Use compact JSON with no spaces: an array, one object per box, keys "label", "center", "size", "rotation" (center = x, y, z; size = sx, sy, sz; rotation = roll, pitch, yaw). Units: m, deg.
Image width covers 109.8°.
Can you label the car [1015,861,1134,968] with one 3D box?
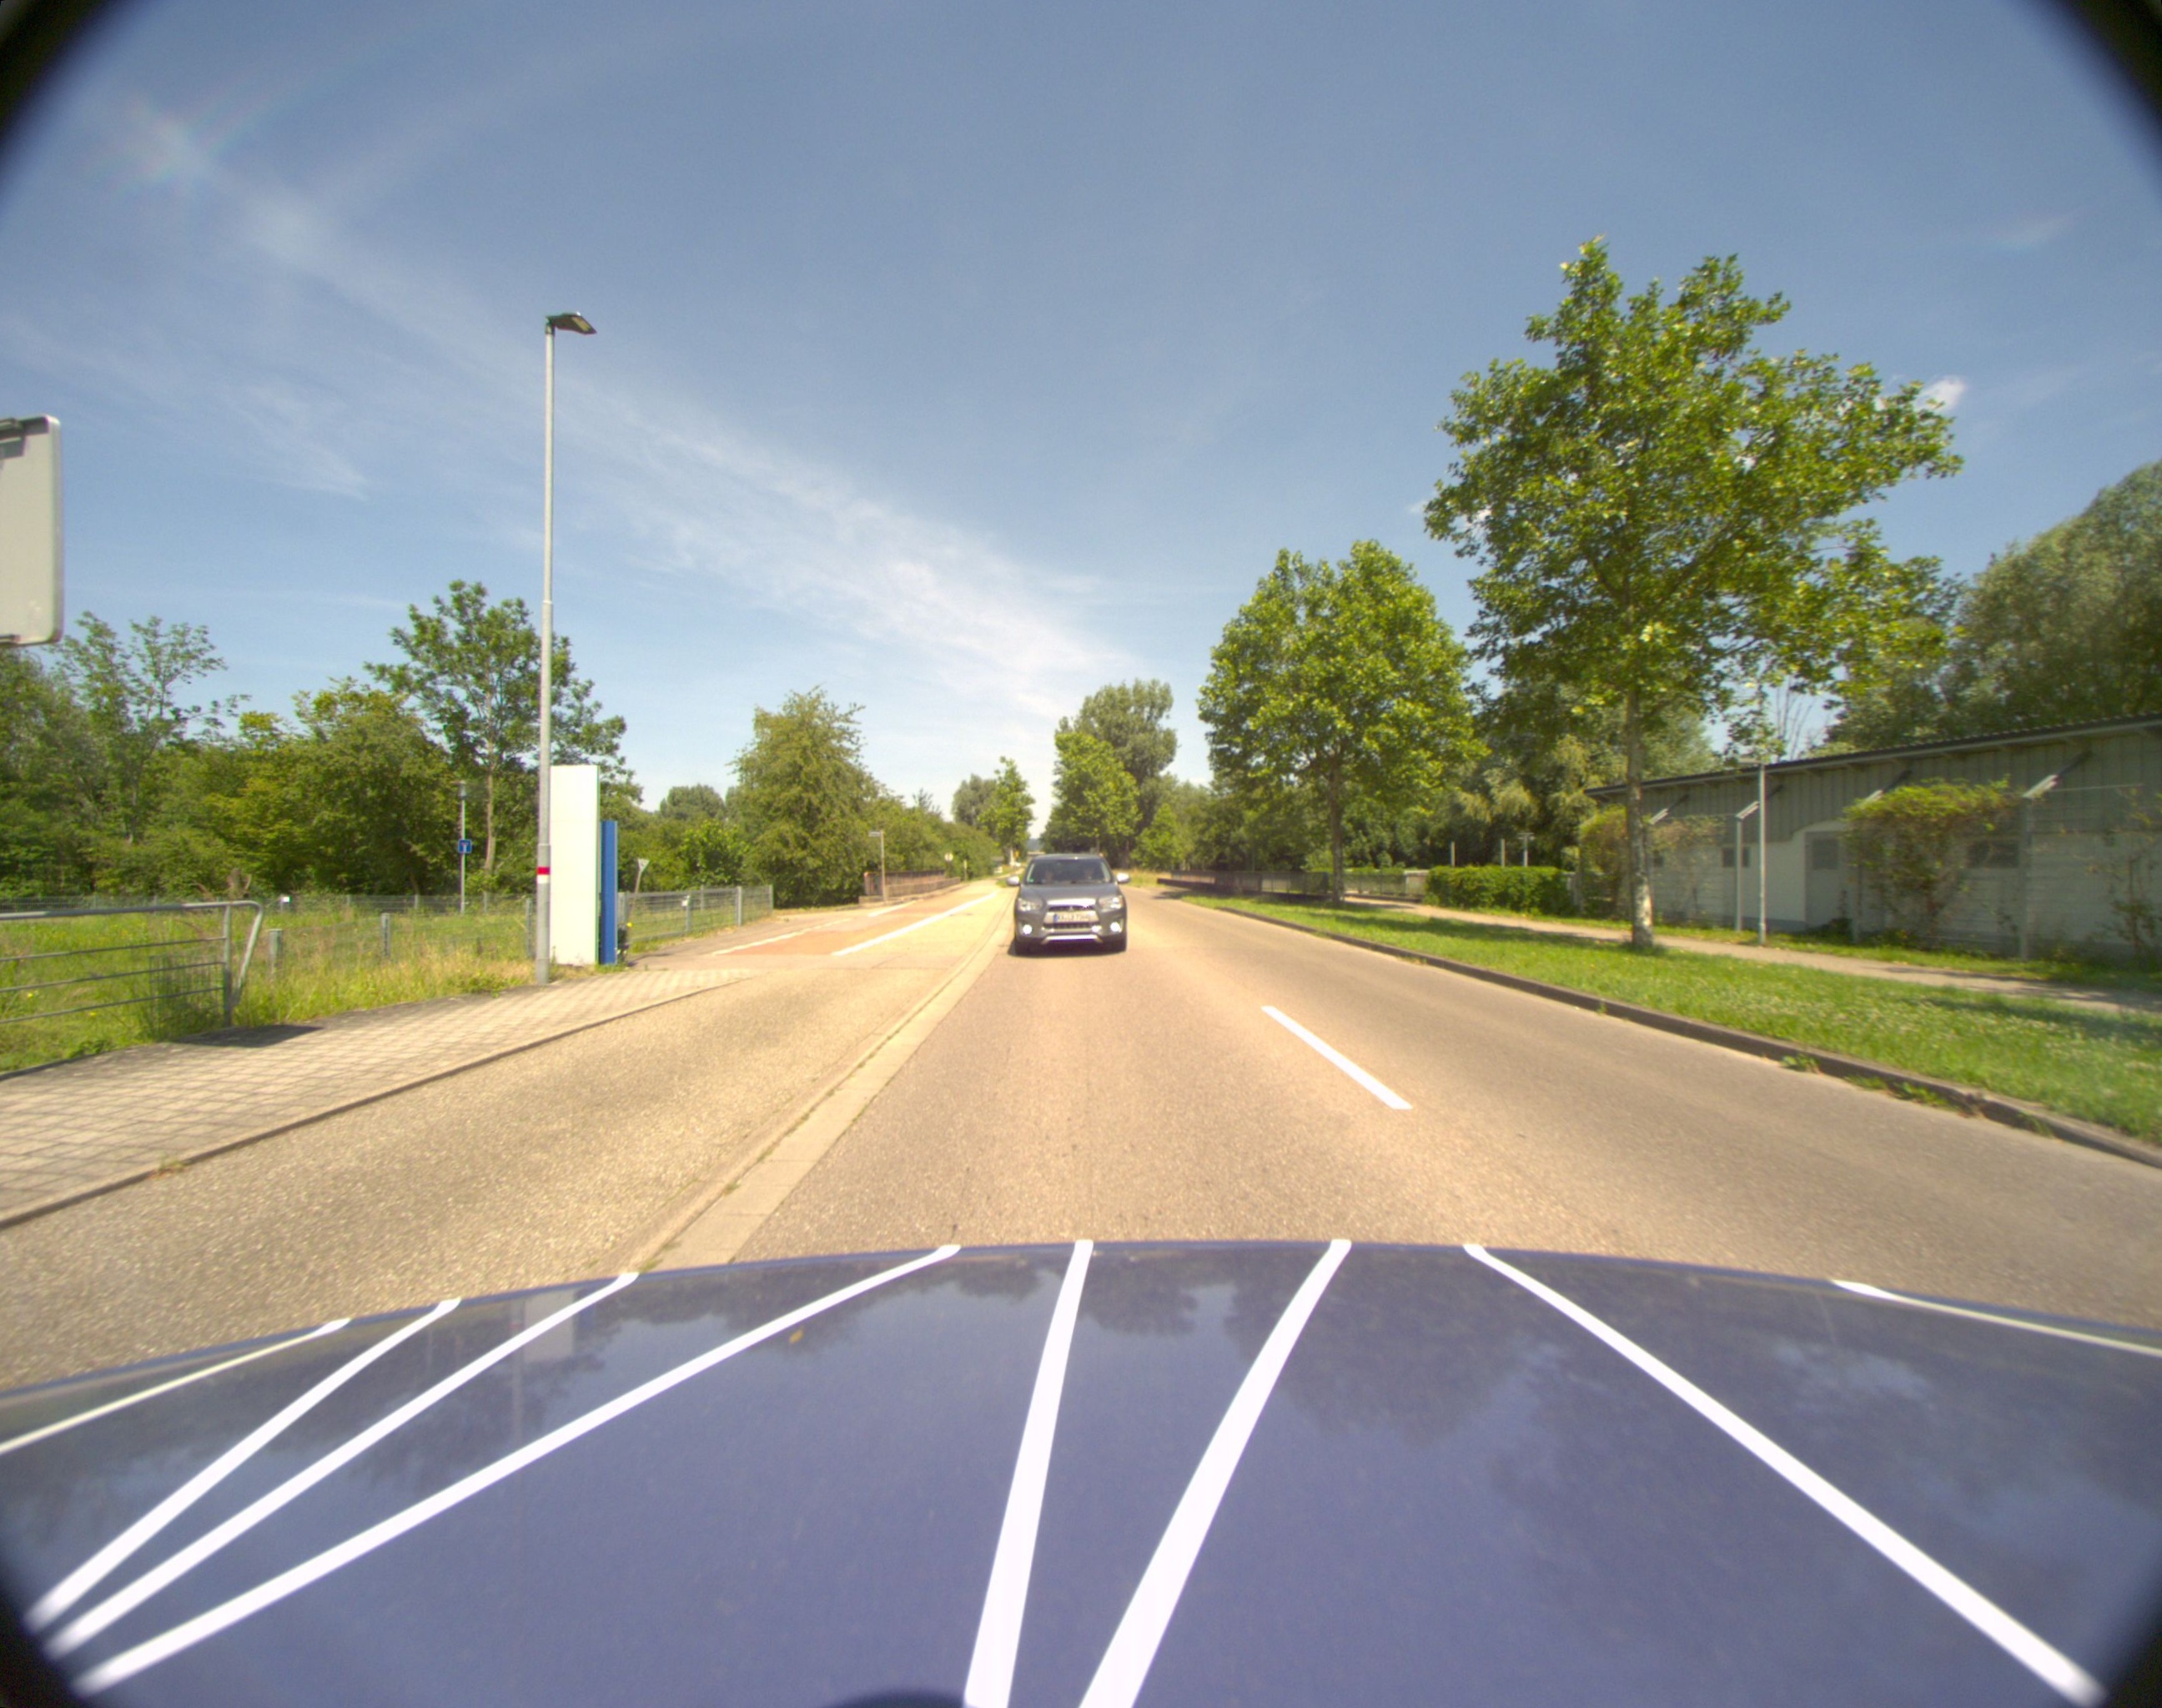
[{"label":"car","center":[-0.234,0.914,13.516],"size":[1.750,1.525,4.523],"rotation":[0,0,-4]}]

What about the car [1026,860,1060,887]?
[{"label":"car","center":[-2.151,1.057,42.385],"size":[1.677,1.342,3.829],"rotation":[-1,0,-5]}]
